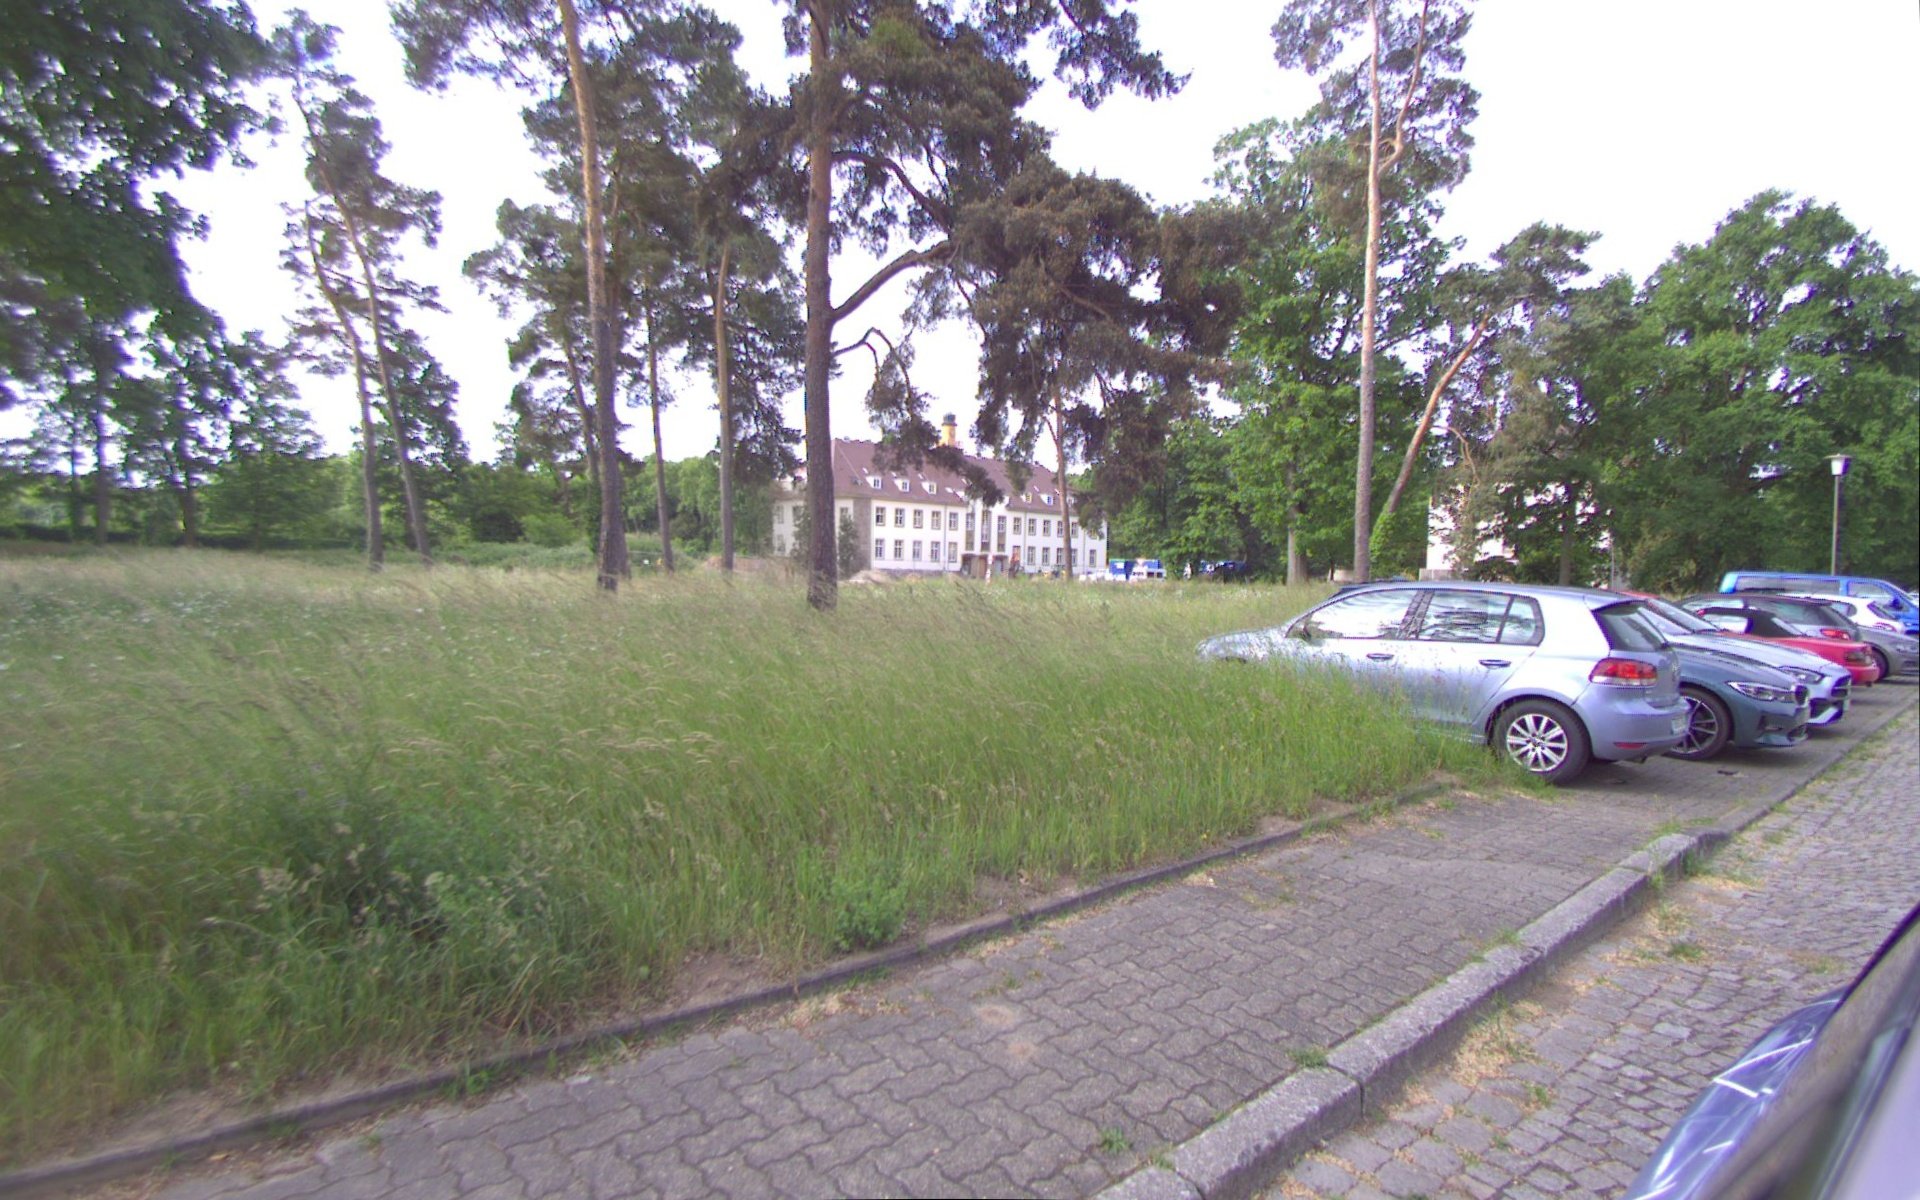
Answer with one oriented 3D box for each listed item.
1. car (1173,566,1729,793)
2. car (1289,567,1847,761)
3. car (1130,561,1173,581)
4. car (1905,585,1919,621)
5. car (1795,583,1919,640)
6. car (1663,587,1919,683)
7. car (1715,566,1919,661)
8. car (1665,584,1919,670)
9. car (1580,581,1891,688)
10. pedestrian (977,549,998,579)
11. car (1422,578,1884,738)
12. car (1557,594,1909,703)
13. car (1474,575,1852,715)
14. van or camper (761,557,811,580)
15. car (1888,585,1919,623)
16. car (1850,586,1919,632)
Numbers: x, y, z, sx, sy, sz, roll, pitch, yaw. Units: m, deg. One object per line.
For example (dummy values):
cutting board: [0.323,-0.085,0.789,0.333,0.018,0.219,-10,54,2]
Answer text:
car: [4.041,0.477,8.877,1.765,1.436,3.996,0,3,-40]
car: [5.992,0.458,10.516,1.765,1.463,4.628,0,3,-41]
car: [20.782,-3.189,109.861,4.754,2.038,2.163,0,3,-44]
car: [46.350,0.214,46.667,1.964,1.644,3.791,0,3,-40]
car: [27.851,0.344,30.372,1.835,1.523,3.998,0,3,-39]
car: [15.586,0.573,18.688,1.765,1.453,3.931,0,3,-41]
car: [21.445,0.276,24.362,1.963,2.038,4.844,0,3,-37]
car: [17.356,0.482,21.178,1.765,1.467,3.931,0,3,-41]
car: [13.195,0.488,17.406,1.765,1.494,3.932,0,3,-40]
pedestrian: [2.027,-2.667,74.551,1.037,2.204,1.183,0,2,-41]
car: [8.129,0.538,12.252,1.764,1.463,4.268,0,3,-39]
car: [11.574,0.628,15.367,1.765,1.249,3.932,0,3,-40]
car: [9.563,0.491,14.031,1.764,1.531,3.934,0,3,-39]
van or camper: [-18.944,-3.470,109.950,2.424,2.335,6.115,0,3,-43]
car: [42.955,0.237,43.862,1.964,1.589,3.791,0,3,-40]
car: [35.403,0.361,37.104,1.967,1.589,3.991,0,3,-44]
